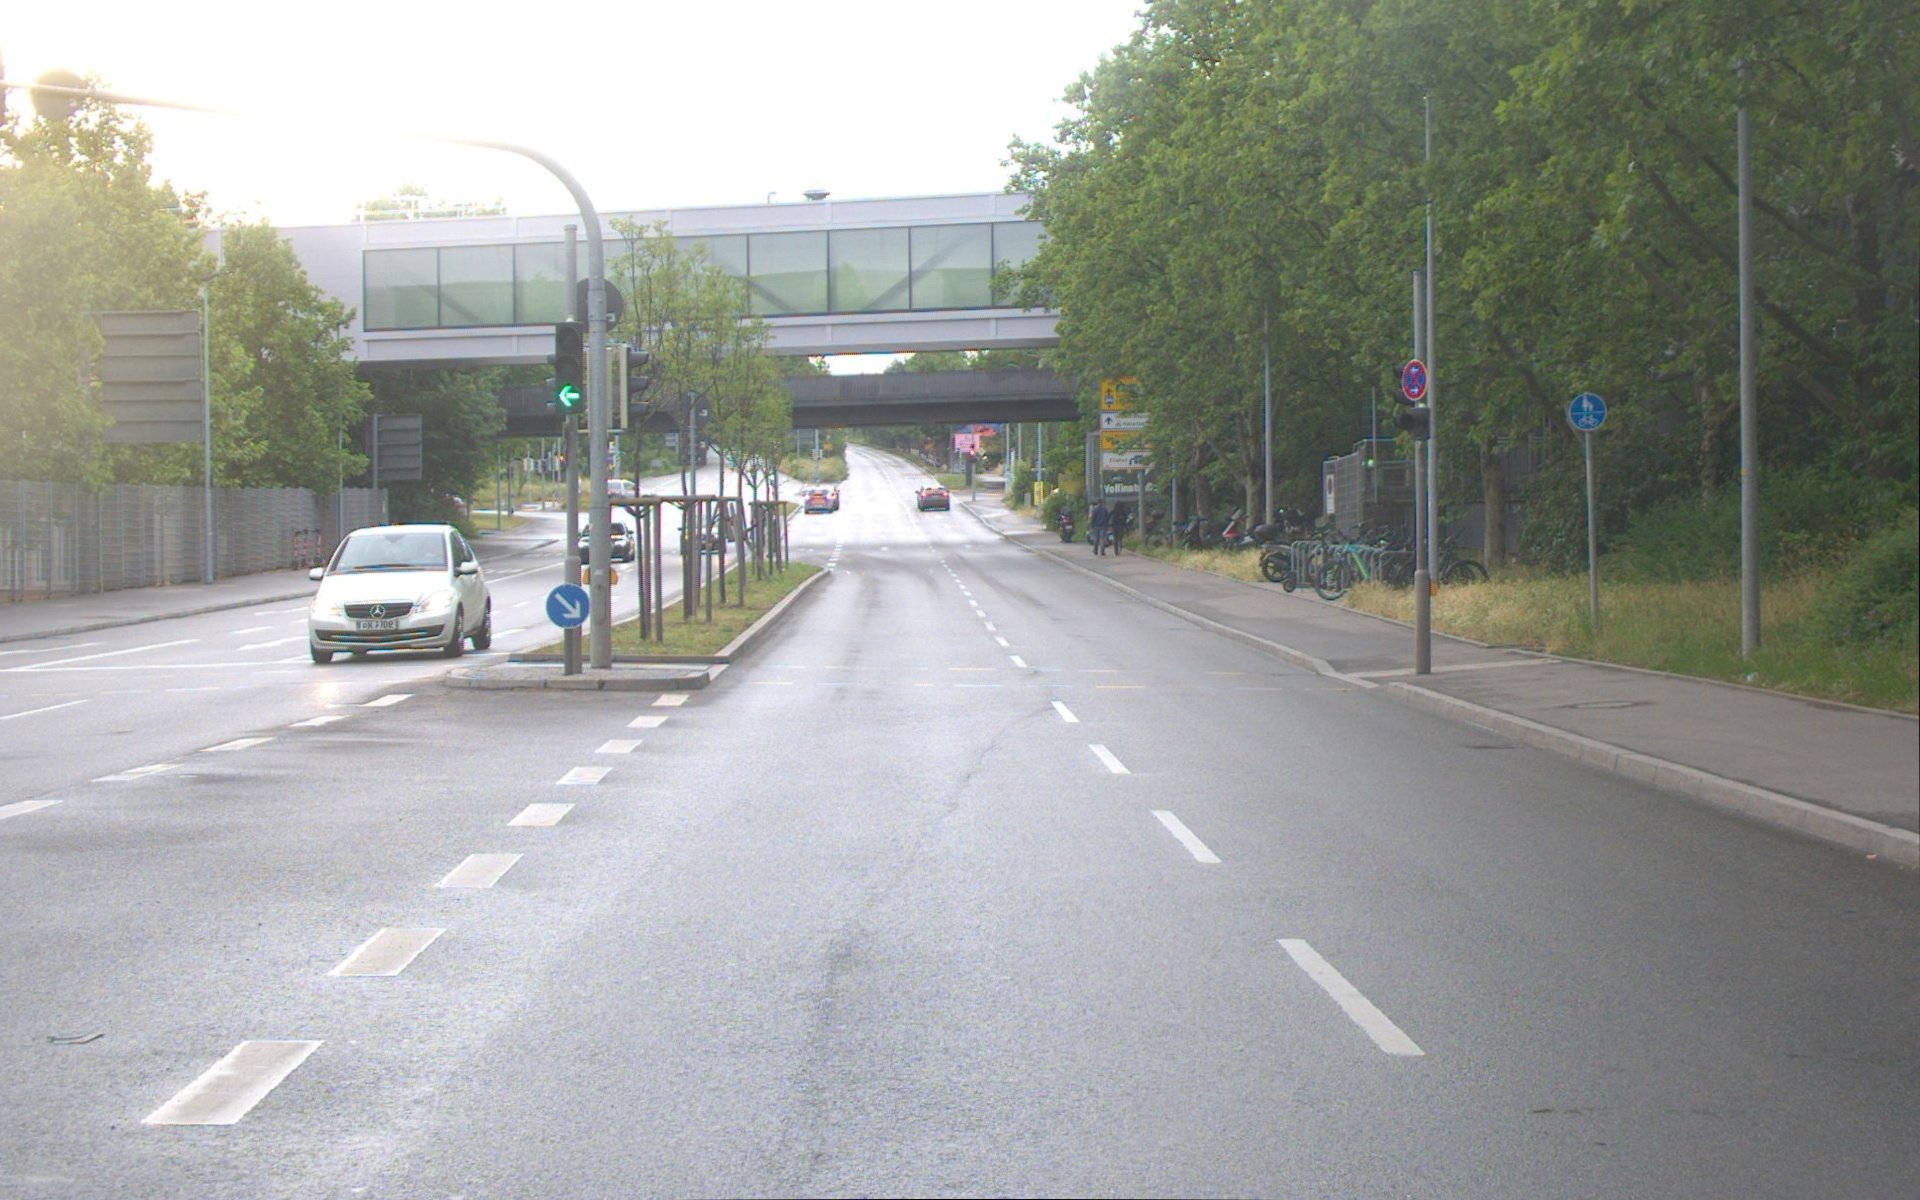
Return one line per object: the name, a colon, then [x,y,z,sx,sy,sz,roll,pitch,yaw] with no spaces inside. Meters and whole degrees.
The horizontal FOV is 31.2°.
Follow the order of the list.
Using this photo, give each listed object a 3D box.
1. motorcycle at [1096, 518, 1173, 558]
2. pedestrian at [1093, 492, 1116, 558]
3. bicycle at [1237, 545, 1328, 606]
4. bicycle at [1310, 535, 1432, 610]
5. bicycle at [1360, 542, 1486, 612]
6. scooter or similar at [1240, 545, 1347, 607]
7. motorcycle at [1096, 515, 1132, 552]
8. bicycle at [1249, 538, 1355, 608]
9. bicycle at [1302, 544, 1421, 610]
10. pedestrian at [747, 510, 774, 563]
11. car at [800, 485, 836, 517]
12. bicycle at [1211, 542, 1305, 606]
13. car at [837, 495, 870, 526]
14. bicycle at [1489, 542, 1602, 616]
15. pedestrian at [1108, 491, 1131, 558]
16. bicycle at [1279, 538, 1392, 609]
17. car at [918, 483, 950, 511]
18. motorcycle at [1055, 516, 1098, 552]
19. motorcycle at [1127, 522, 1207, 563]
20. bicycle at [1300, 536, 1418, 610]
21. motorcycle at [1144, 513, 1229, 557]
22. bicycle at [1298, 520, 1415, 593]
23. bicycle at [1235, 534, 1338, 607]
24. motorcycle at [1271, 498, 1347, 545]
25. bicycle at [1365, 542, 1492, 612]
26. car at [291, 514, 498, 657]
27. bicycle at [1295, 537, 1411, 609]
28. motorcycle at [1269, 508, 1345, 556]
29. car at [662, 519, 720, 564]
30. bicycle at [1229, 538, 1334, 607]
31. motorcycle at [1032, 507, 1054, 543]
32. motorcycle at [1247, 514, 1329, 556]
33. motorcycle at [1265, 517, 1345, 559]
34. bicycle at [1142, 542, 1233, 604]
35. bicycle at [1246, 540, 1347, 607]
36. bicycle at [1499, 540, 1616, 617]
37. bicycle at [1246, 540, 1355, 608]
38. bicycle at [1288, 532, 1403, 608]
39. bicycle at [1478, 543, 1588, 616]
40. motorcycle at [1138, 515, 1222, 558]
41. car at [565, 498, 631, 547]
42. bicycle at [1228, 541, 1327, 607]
motorcycle: [5.516,-1.951,108.673,2.369,1.198,0.722,-1,1,8]
pedestrian: [4.393,-2.285,104.651,0.622,2.007,0.605,-1,1,0]
bicycle: [7.323,-0.546,78.137,1.963,1.324,0.654,2,0,0]
bicycle: [7.004,-0.464,58.622,1.990,1.212,0.541,2,0,0]
bicycle: [7.698,-0.378,57.162,1.990,1.091,0.541,2,0,0]
scooter or similar: [6.458,-0.472,66.689,1.990,1.134,0.541,2,0,0]
motorcycle: [5.513,-2.377,123.133,0.790,1.307,2.377,-1,1,-9]
bicycle: [6.744,-0.533,67.811,1.990,1.324,0.576,2,0,0]
bicycle: [7.037,-0.409,60.230,1.990,1.091,0.541,2,0,0]
pedestrian: [-7.602,-2.430,130.954,0.852,1.997,0.875,-2,1,-13]
car: [-8.646,-6.037,209.334,1.993,1.756,4.000,2,0,0]
bicycle: [6.532,-0.566,75.392,1.963,1.324,0.654,2,0,0]
car: [-6.709,-5.629,216.449,1.884,1.756,3.969,2,0,0]
bicycle: [11.022,-0.393,64.766,1.990,1.324,0.576,2,0,0]
pedestrian: [4.821,-2.293,103.994,0.622,2.007,0.605,-1,1,0]
bicycle: [6.944,-0.487,63.582,1.990,1.237,0.541,2,0,0]
car: [-1.559,-6.166,205.737,1.875,1.492,4.068,2,0,0]
motorcycle: [4.335,-2.448,128.230,0.790,1.307,2.377,-2,1,-18]
motorcycle: [6.275,-1.742,104.275,2.369,1.198,0.722,-1,1,8]
bicycle: [7.050,-0.475,60.812,1.990,1.229,0.541,2,0,0]
motorcycle: [6.455,-1.860,97.907,2.369,1.198,0.722,-1,1,8]
bicycle: [7.085,-0.783,61.448,1.990,1.237,0.541,2,0,0]
bicycle: [6.671,-0.603,70.297,1.990,1.425,0.723,2,0,0]
motorcycle: [11.268,-2.531,110.987,2.369,1.471,0.722,-1,1,8]
bicycle: [7.703,-0.377,56.593,1.990,1.091,0.541,2,0,0]
car: [-6.809,-0.207,41.750,1.877,1.619,3.779,-1,1,0]
bicycle: [7.087,-0.480,62.068,1.990,1.237,0.541,2,0,0]
motorcycle: [11.088,-2.181,109.770,2.369,1.471,0.722,-1,1,8]
car: [-10.031,-2.207,128.556,1.877,1.619,3.779,-1,1,0]
bicycle: [6.414,-0.545,68.620,1.990,1.324,0.576,2,0,0]
motorcycle: [3.563,-3.212,147.376,0.790,1.528,2.377,-1,1,-2]
motorcycle: [9.701,-1.923,101.761,2.369,1.198,0.722,-1,1,8]
motorcycle: [10.435,-1.878,103.905,2.369,1.198,0.722,-1,1,8]
bicycle: [5.099,-0.614,77.123,1.963,1.324,0.654,2,0,0]
bicycle: [6.963,-0.544,71.150,1.990,1.324,0.576,2,0,0]
bicycle: [10.869,-0.394,62.578,1.990,1.324,0.576,2,0,0]
bicycle: [6.521,-0.505,65.906,1.990,1.237,0.541,2,0,0]
bicycle: [7.047,-0.549,62.889,1.990,1.336,0.541,2,0,0]
bicycle: [10.988,-0.396,65.959,1.990,1.324,0.576,2,0,0]
motorcycle: [6.396,-1.846,100.035,2.369,1.198,0.722,-1,1,8]
car: [-12.491,-2.670,118.734,1.877,1.619,3.779,-1,1,0]
bicycle: [6.629,-0.544,71.862,1.990,1.324,0.576,2,0,0]
